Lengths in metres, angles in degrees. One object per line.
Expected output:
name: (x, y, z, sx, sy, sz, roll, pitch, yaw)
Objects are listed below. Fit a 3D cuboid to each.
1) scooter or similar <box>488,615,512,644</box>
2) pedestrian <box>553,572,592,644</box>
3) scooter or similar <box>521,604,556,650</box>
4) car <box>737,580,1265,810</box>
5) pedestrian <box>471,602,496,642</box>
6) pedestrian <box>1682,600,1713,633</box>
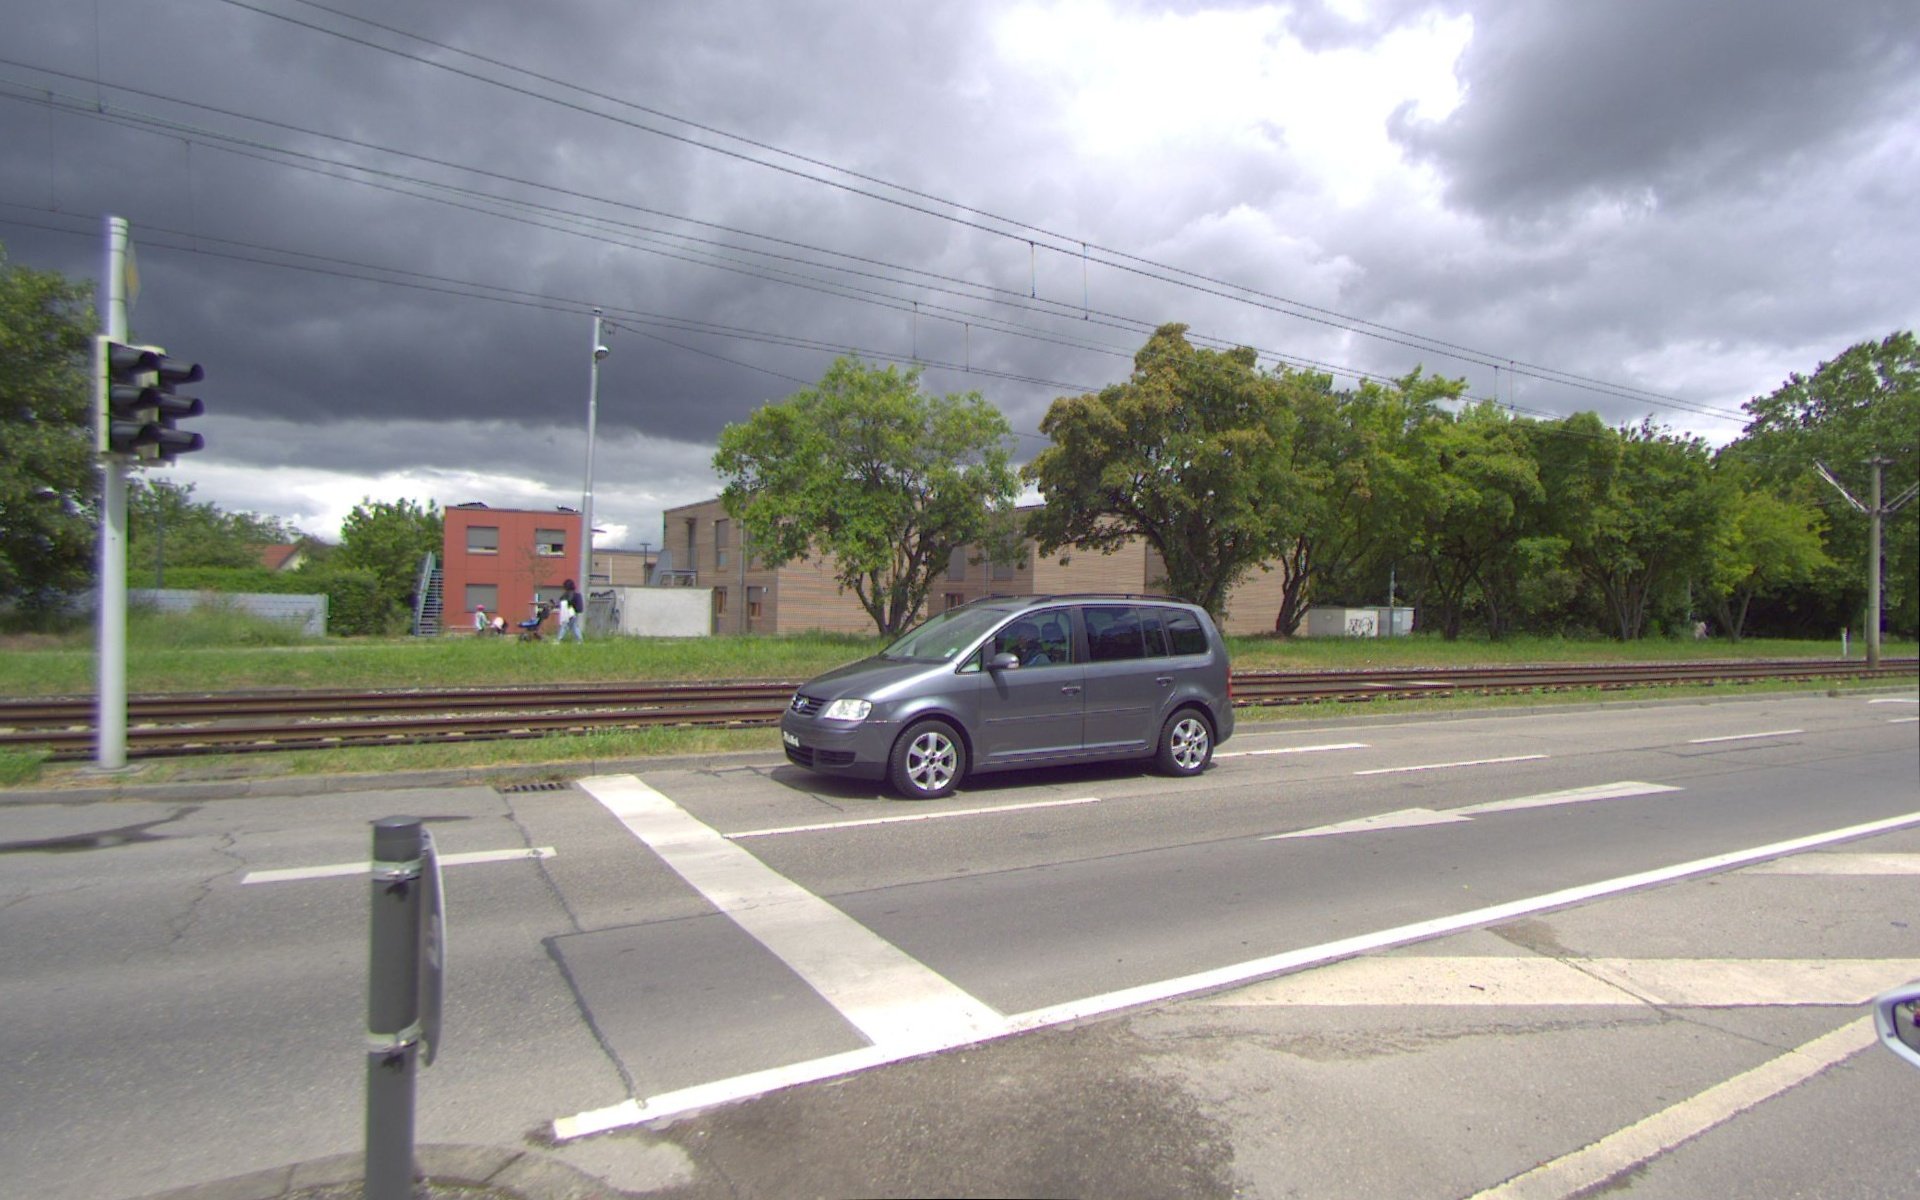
scooter or similar: (-17.449, 1.110, 38.083, 0.375, 1.090, 0.716, 2, 0, 31)
pedestrian: (-9.538, 0.200, 24.700, 0.790, 1.746, 0.488, 2, 0, -30)
scooter or similar: (-10.200, 0.648, 24.315, 0.709, 1.090, 0.378, 2, 0, -30)
car: (0.429, 0.746, 9.268, 4.466, 1.682, 1.985, 2, 0, -29)
pedestrian: (-17.787, 0.834, 37.492, 0.484, 1.460, 0.655, 2, 0, 33)
pedestrian: (45.182, 1.019, 61.529, 1.347, 1.959, 1.029, 1, 0, -30)
